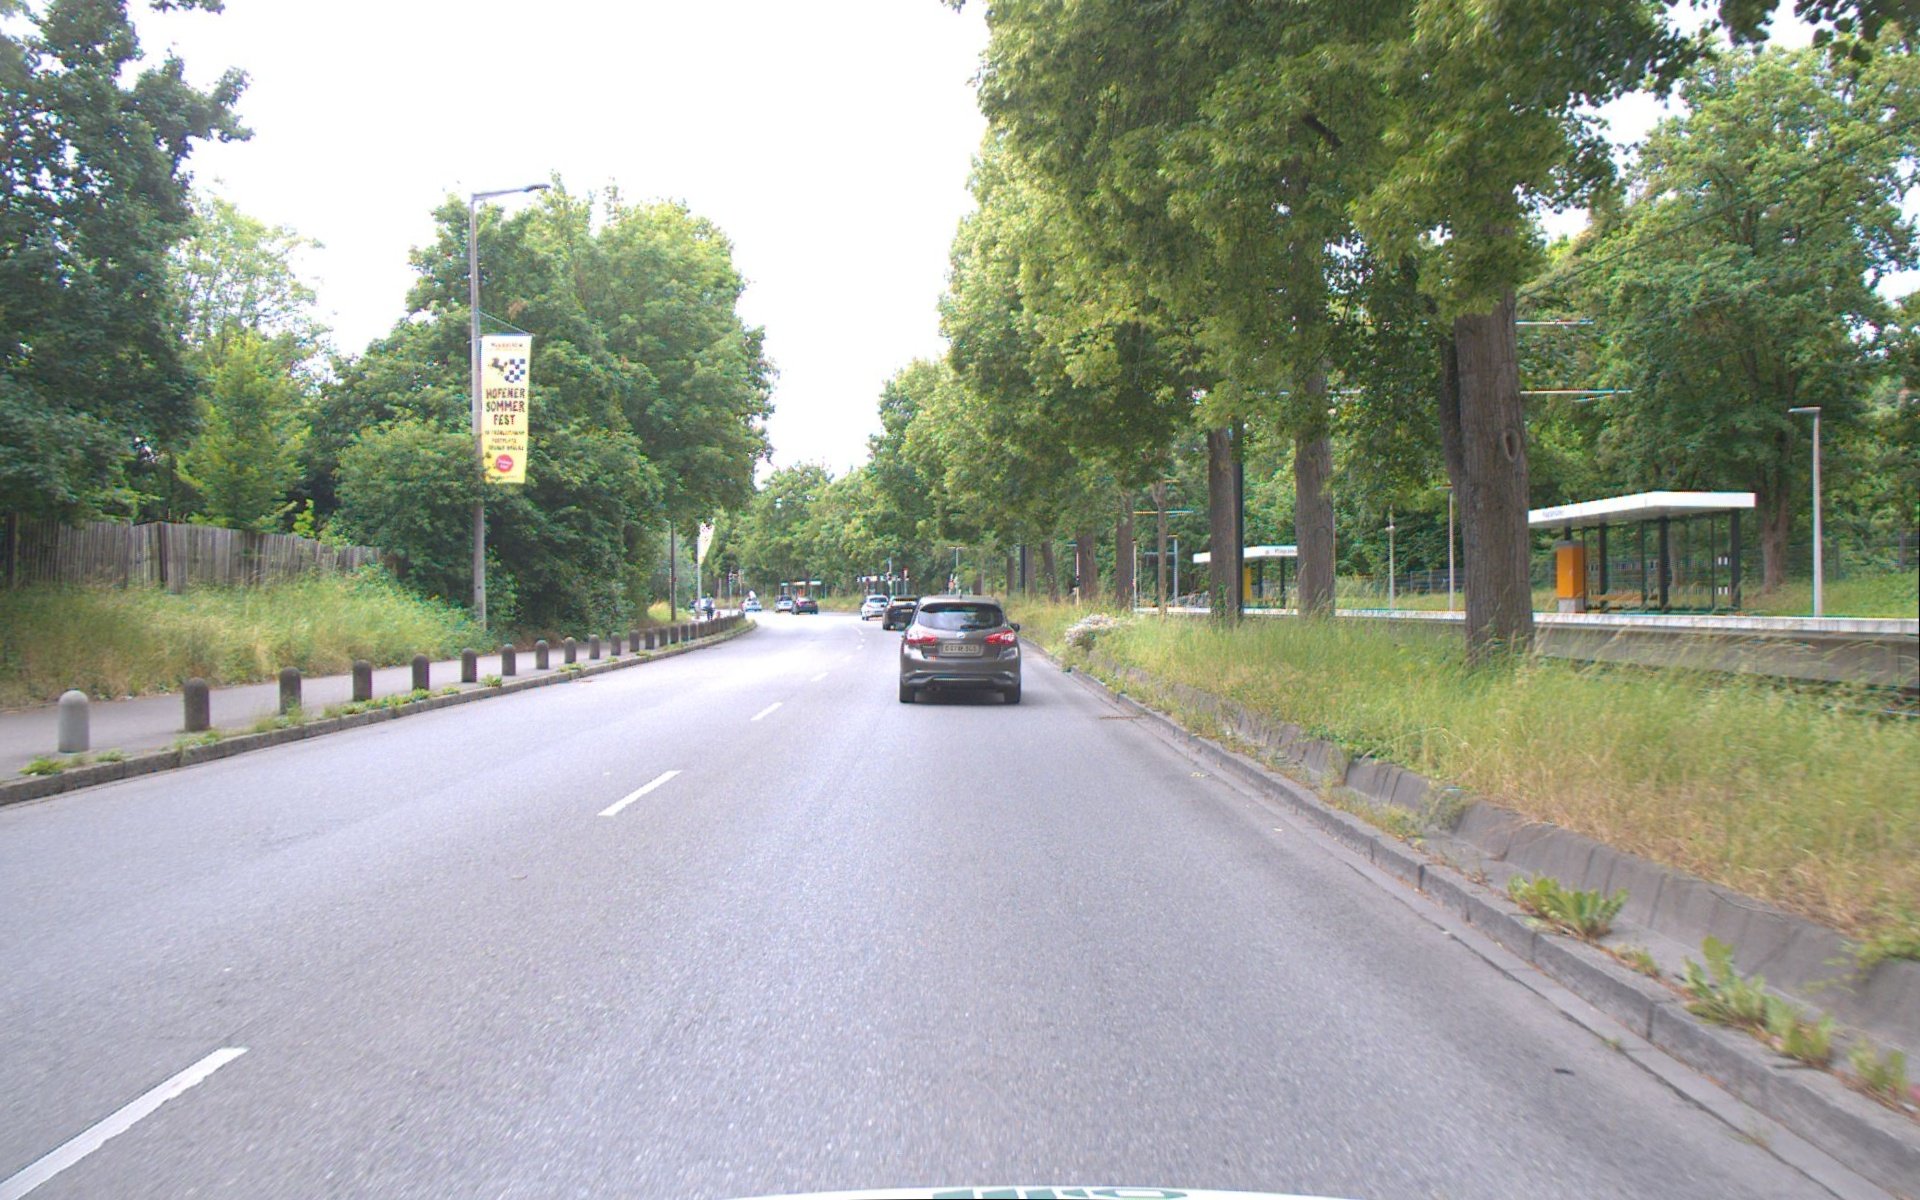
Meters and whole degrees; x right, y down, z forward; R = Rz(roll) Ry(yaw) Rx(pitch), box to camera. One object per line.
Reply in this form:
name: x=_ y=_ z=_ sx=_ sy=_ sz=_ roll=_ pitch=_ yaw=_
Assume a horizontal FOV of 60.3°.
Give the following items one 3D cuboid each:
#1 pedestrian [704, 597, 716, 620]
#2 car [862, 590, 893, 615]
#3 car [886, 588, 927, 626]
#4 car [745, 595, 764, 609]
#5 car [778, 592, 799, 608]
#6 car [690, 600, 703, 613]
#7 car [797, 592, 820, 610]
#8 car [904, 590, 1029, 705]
pedestrian: x=-15.347 y=0.519 z=101.700 sx=0.707 sy=1.392 sz=0.653 roll=1 pitch=0 yaw=-9
car: x=-5.099 y=0.150 z=102.053 sx=1.532 sy=1.466 sz=3.545 roll=1 pitch=0 yaw=-9
car: x=-2.295 y=0.273 z=71.237 sx=1.695 sy=1.564 sz=3.551 roll=1 pitch=0 yaw=-2
car: x=-22.125 y=0.248 z=177.924 sx=1.535 sy=1.466 sz=3.537 roll=1 pitch=0 yaw=-15
car: x=-16.071 y=0.020 z=154.734 sx=1.534 sy=1.466 sz=3.541 roll=1 pitch=0 yaw=-12
car: x=-33.279 y=0.818 z=208.658 sx=1.533 sy=1.466 sz=3.542 roll=1 pitch=0 yaw=-11
car: x=-12.804 y=0.059 z=139.843 sx=1.534 sy=1.466 sz=3.541 roll=1 pitch=0 yaw=-12
car: x=0.050 y=0.644 z=24.568 sx=1.695 sy=1.564 sz=3.551 roll=1 pitch=0 yaw=-2
